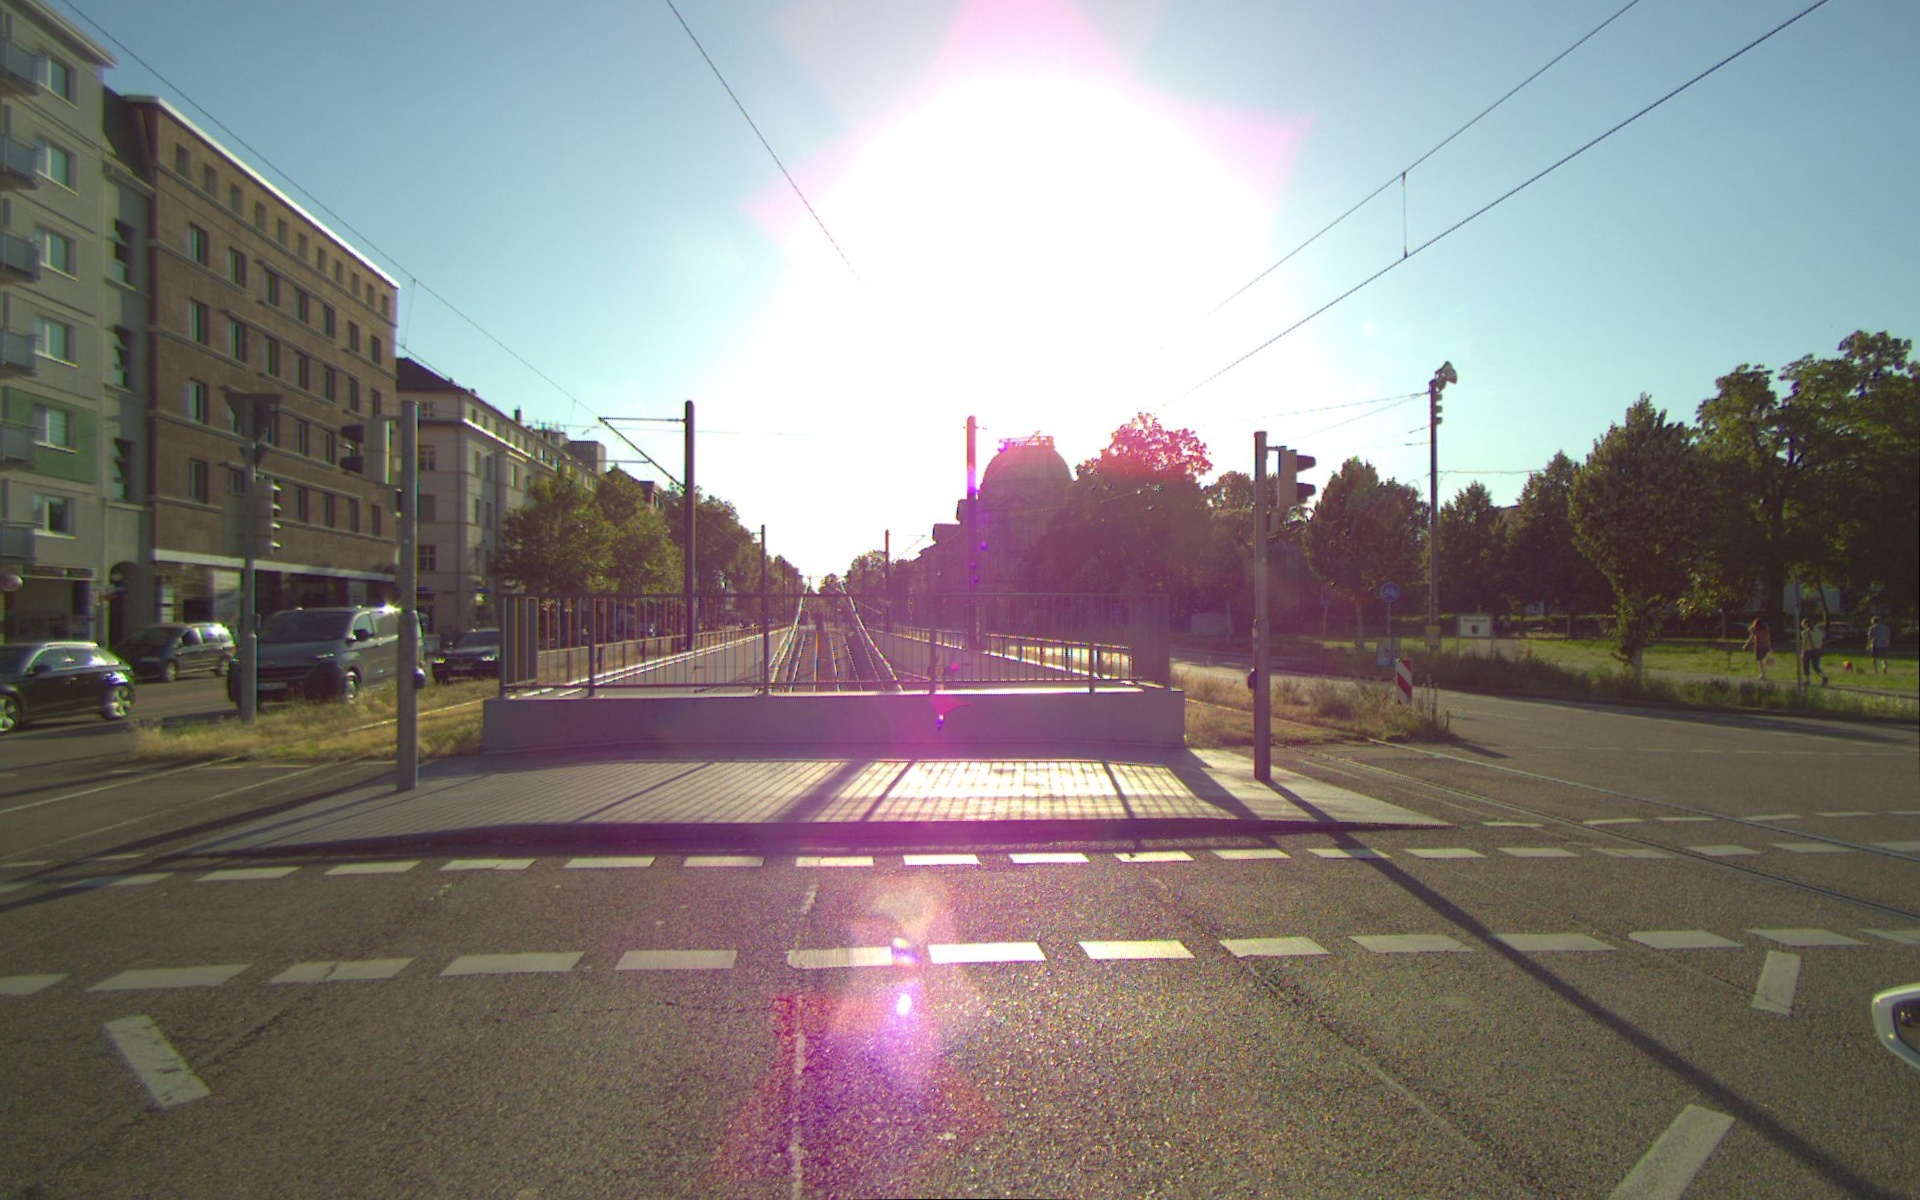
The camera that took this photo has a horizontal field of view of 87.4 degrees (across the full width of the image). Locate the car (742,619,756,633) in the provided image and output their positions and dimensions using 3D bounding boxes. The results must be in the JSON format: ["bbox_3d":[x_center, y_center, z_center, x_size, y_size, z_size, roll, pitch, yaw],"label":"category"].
[{"bbox_3d":[-29.938,3.697,142.464,1.965,2.040,3.991,0,-1,-13],"label":"car"}]

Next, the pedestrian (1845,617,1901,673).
[{"bbox_3d":[28.910,1.402,31.812,0.829,1.719,1.016,0,0,-6],"label":"pedestrian"}]

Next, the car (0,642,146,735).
[{"bbox_3d":[-15.598,1.397,16.309,1.768,1.330,4.195,0,-1,-8],"label":"car"}]

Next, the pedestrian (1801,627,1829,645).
[{"bbox_3d":[46.712,1.971,54.863,1.159,0.966,0.798,0,0,-28],"label":"pedestrian"}]

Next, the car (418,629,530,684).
[{"bbox_3d":[-13.973,1.578,29.107,1.768,1.392,3.908,-2,-1,-8],"label":"car"}]

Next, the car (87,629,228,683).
[{"bbox_3d":[-25.085,1.706,31.591,1.665,1.528,3.994,0,-1,-9],"label":"car"}]

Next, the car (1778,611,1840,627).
[{"bbox_3d":[86.182,1.911,102.027,1.968,1.592,4.448,0,-1,-17],"label":"car"}]

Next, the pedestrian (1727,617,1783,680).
[{"bbox_3d":[22.461,1.362,28.387,0.827,1.719,1.017,0,0,9],"label":"pedestrian"}]

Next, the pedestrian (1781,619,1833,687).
[{"bbox_3d":[22.272,1.379,26.429,0.696,1.719,0.896,0,1,14],"label":"pedestrian"}]

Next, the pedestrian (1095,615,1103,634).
[{"bbox_3d":[13.650,2.386,98.893,0.672,1.847,0.535,0,-1,-3],"label":"pedestrian"}]

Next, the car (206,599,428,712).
[{"bbox_3d":[-12.952,1.059,20.686,1.963,2.040,4.932,0,-1,-8],"label":"car"}]

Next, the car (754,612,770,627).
[{"bbox_3d":[-26.353,2.593,133.478,1.965,2.040,3.991,0,-1,-13],"label":"car"}]

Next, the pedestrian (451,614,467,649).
[{"bbox_3d":[-29.144,1.819,58.470,0.708,2.040,0.725,1,-1,-19],"label":"pedestrian"}]
